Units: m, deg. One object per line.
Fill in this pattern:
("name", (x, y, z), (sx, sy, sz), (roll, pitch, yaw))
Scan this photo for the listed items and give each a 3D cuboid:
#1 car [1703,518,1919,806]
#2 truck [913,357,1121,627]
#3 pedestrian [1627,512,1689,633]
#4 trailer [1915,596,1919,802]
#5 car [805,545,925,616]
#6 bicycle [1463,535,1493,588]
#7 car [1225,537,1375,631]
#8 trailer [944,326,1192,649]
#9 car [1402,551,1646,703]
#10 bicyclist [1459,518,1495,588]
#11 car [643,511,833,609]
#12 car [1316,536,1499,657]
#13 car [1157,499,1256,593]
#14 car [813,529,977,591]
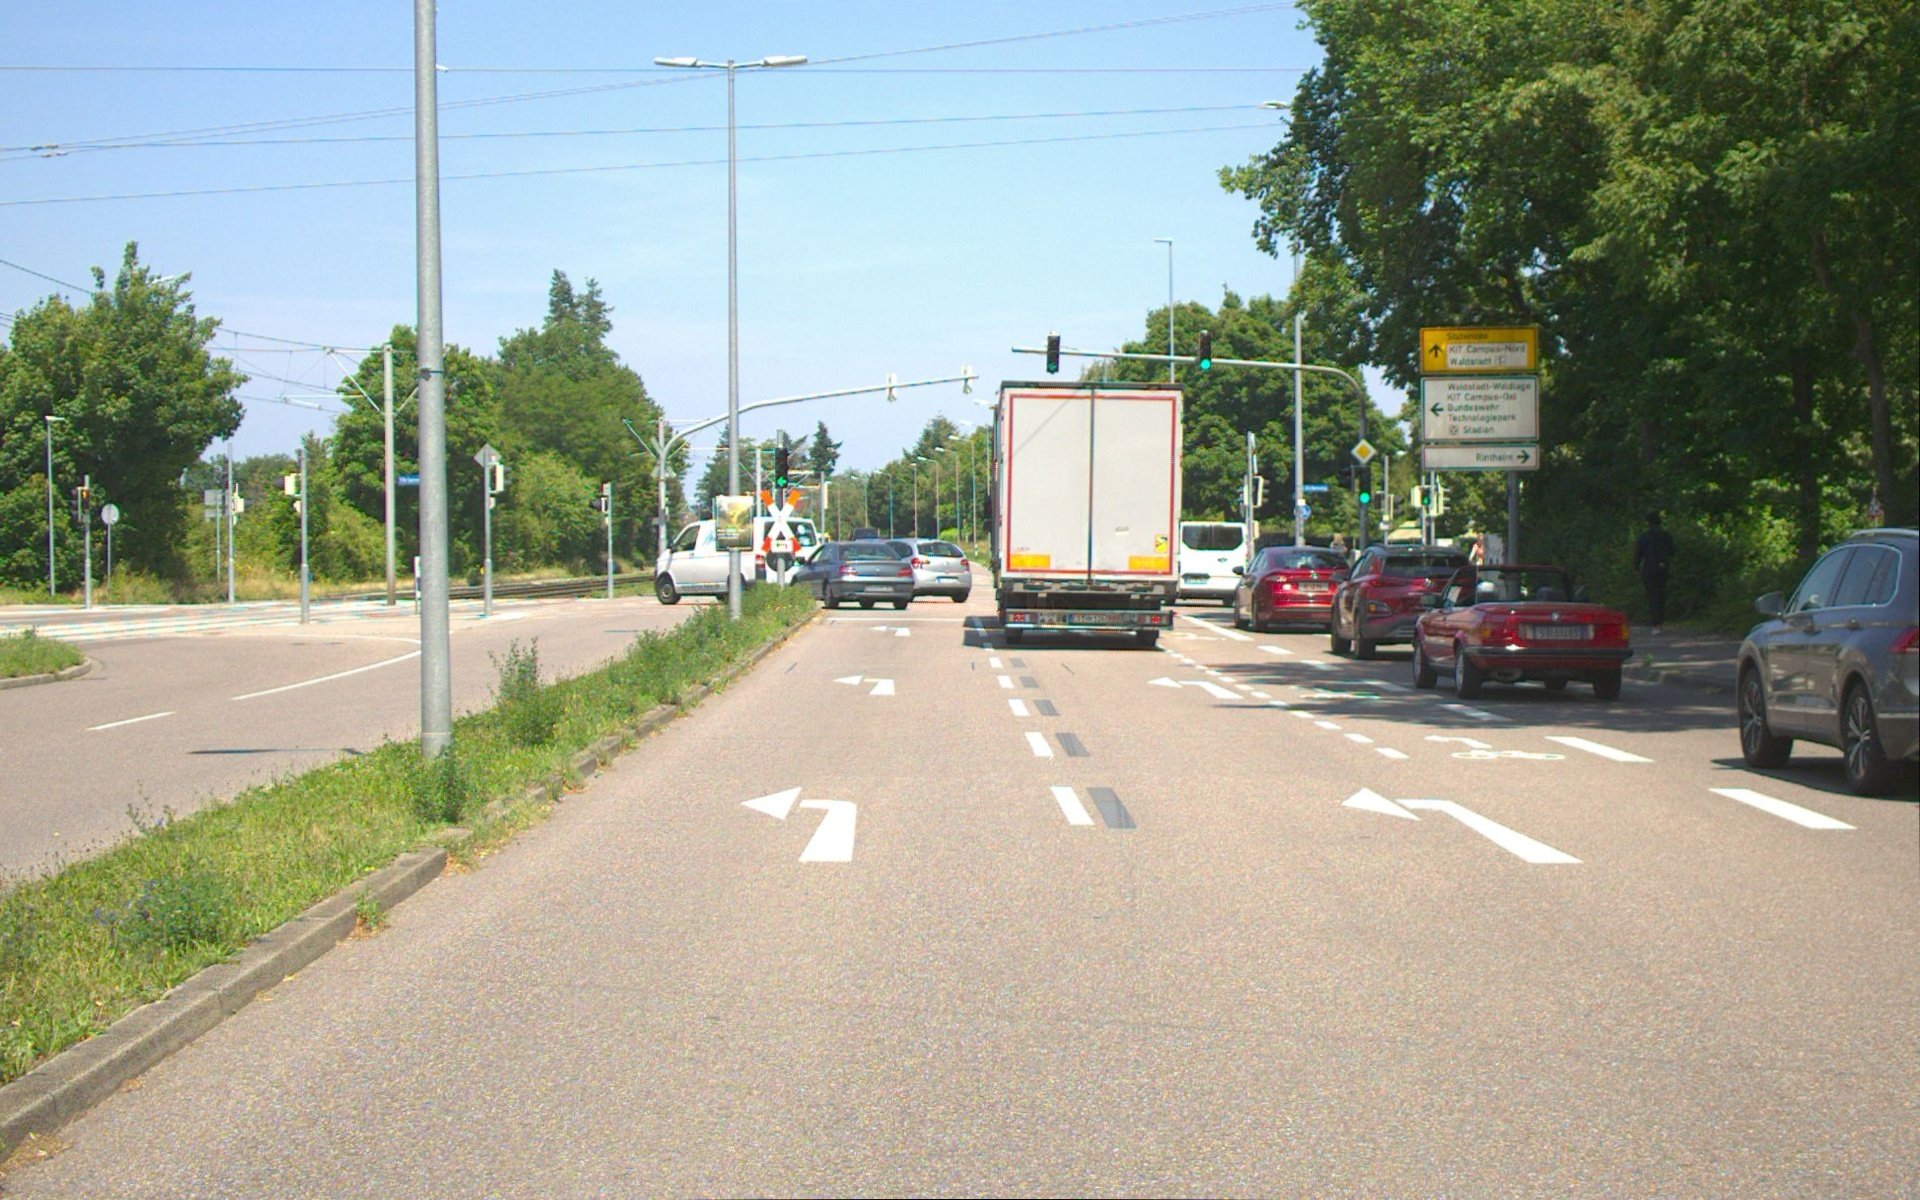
("car", (6.149, 0.319, 21.980), (1.699, 1.648, 4.399), (1, 1, -2))
("truck", (0.880, -1.908, 60.379), (2.826, 4.329, 8.286), (1, 2, -4))
("pedestrian", (10.587, -0.421, 52.170), (0.753, 1.809, 0.693), (-1, 1, -1))
("trailer", (6.283, 0.373, 18.333), (1.468, 1.663, 2.856), (1, 1, -2))
("car", (-2.005, -0.425, 71.359), (1.892, 1.367, 4.431), (2, 0, -9))
("bicycle", (13.024, -0.976, 86.361), (0.645, 1.300, 1.625), (-2, 1, 11))
("car", (5.817, -0.304, 59.368), (1.993, 1.498, 4.503), (0, 2, -2))
("trailer", (1.470, -1.661, 51.867), (2.826, 4.406, 8.751), (1, 1, -4))
("car", (5.703, 0.234, 35.240), (1.654, 1.392, 4.268), (1, 1, -2))
("bicyclist", (12.999, -1.178, 86.375), (0.802, 1.721, 0.678), (-3, 1, 11))
("car", (-5.090, -0.954, 78.339), (1.994, 2.103, 4.746), (-1, 3, -38))
("car", (6.086, -0.084, 47.155), (1.858, 1.544, 3.887), (1, 1, -2))
("car", (5.726, -1.271, 80.270), (1.890, 2.114, 3.887), (1, 1, -2))
("car", (-1.583, -0.969, 81.605), (1.892, 1.367, 4.430), (-1, 2, -32))
